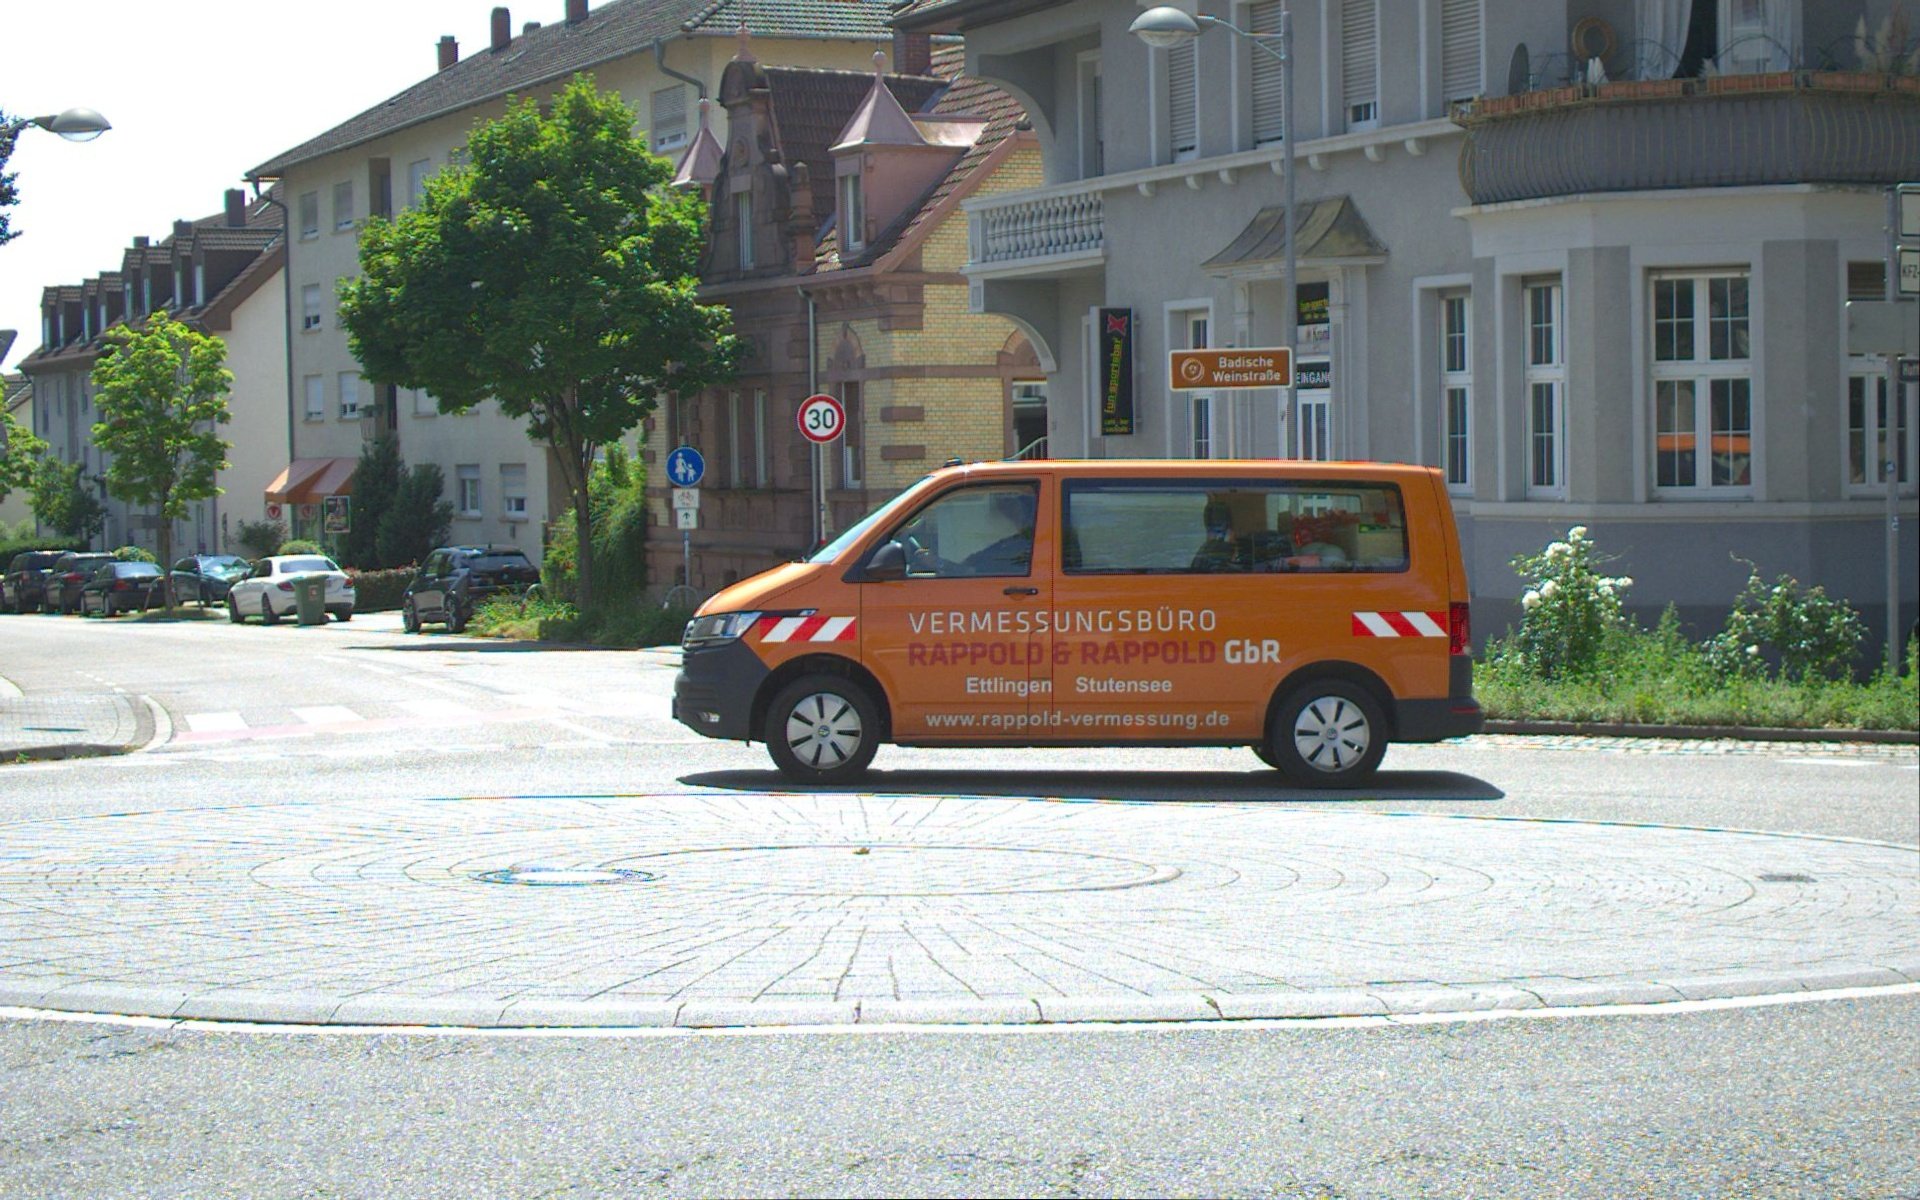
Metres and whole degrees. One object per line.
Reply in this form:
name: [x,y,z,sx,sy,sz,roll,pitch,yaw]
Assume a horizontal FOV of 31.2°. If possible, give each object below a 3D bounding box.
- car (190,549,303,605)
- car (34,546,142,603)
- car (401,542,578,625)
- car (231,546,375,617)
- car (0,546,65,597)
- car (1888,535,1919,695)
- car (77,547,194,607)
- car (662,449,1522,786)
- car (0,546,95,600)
car: [-19.540,-0.650,94.033,1.993,1.504,4.420,-1,1,-26]
car: [-24.035,-0.724,94.676,1.993,1.504,4.420,-1,1,-26]
car: [-8.902,-0.340,64.787,1.993,1.504,4.420,-1,1,-26]
car: [-14.462,-0.441,75.483,1.993,1.504,4.420,-1,1,-26]
car: [-28.451,-0.877,103.609,1.993,1.504,4.420,-1,1,-26]
car: [10.226,0.149,30.407,1.718,1.455,3.793,-1,1,-30]
car: [-21.406,-0.628,89.153,1.993,1.504,4.420,-1,1,-26]
car: [0.750,0.074,20.986,5.004,1.952,1.950,0,2,-1]
car: [-26.491,-0.807,99.425,1.993,1.504,4.420,-1,1,-26]
